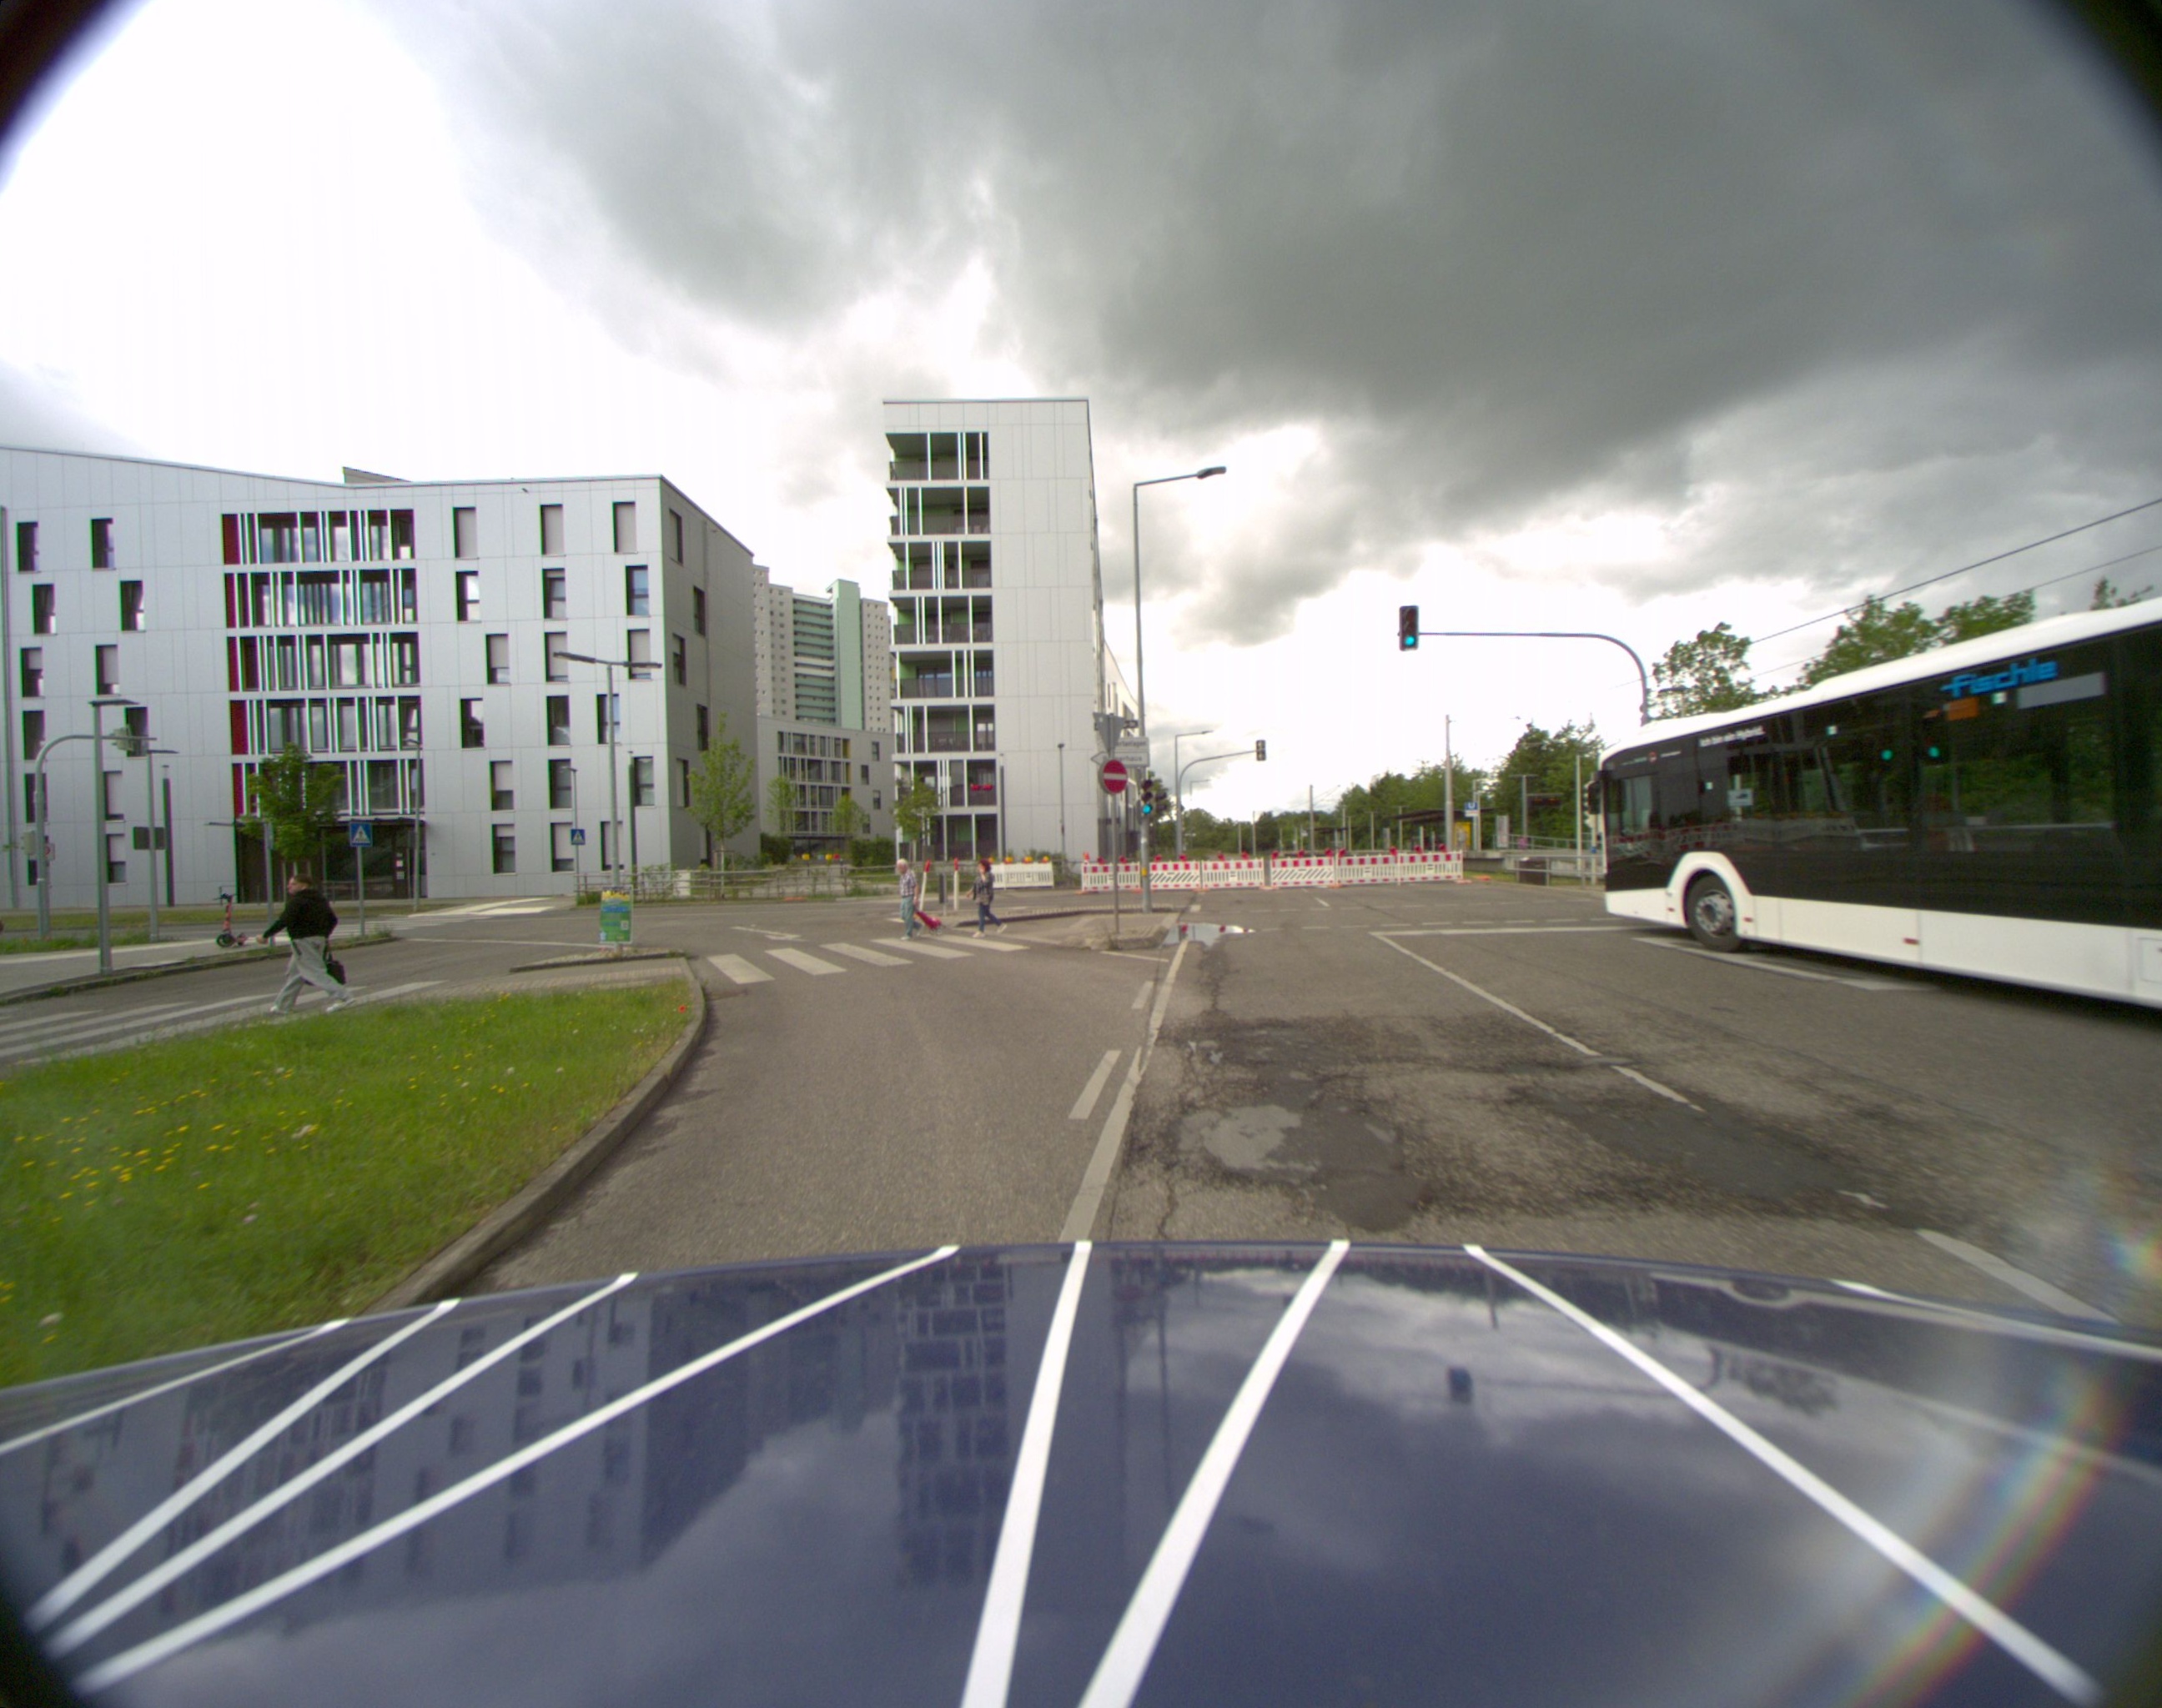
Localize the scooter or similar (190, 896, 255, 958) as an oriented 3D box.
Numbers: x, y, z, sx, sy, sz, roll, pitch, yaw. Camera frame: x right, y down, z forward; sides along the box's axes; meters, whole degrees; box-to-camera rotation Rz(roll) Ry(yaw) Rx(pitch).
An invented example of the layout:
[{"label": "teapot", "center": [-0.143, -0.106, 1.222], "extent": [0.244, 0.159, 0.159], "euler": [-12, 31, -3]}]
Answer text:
[{"label": "scooter or similar", "center": [-19.885, 1.662, 17.630], "extent": [0.573, 1.305, 1.521], "euler": [-3, 1, -34]}]

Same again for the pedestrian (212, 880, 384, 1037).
[{"label": "pedestrian", "center": [-9.563, 1.229, 9.345], "extent": [1.062, 1.737, 0.956], "euler": [-2, 1, -14]}]

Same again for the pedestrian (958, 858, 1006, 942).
[{"label": "pedestrian", "center": [-1.922, 0.883, 14.839], "extent": [0.731, 1.558, 0.692], "euler": [-2, 1, 8]}]

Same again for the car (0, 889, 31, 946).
[{"label": "car", "center": [-33.963, 1.961, 21.969], "extent": [4.240, 1.622, 1.933], "euler": [-1, 2, -2]}]

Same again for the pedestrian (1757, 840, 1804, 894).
[{"label": "pedestrian", "center": [21.539, 0.381, 23.417], "extent": [0.804, 1.612, 0.723], "euler": [-2, 1, 10]}]

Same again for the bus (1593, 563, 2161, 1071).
[{"label": "bus", "center": [8.312, -0.277, 5.745], "extent": [2.671, 3.184, 12.208], "euler": [-2, 1, 10]}]

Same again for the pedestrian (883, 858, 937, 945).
[{"label": "pedestrian", "center": [-3.329, 0.919, 14.836], "extent": [0.721, 1.625, 0.699], "euler": [-1, 3, 13]}]
